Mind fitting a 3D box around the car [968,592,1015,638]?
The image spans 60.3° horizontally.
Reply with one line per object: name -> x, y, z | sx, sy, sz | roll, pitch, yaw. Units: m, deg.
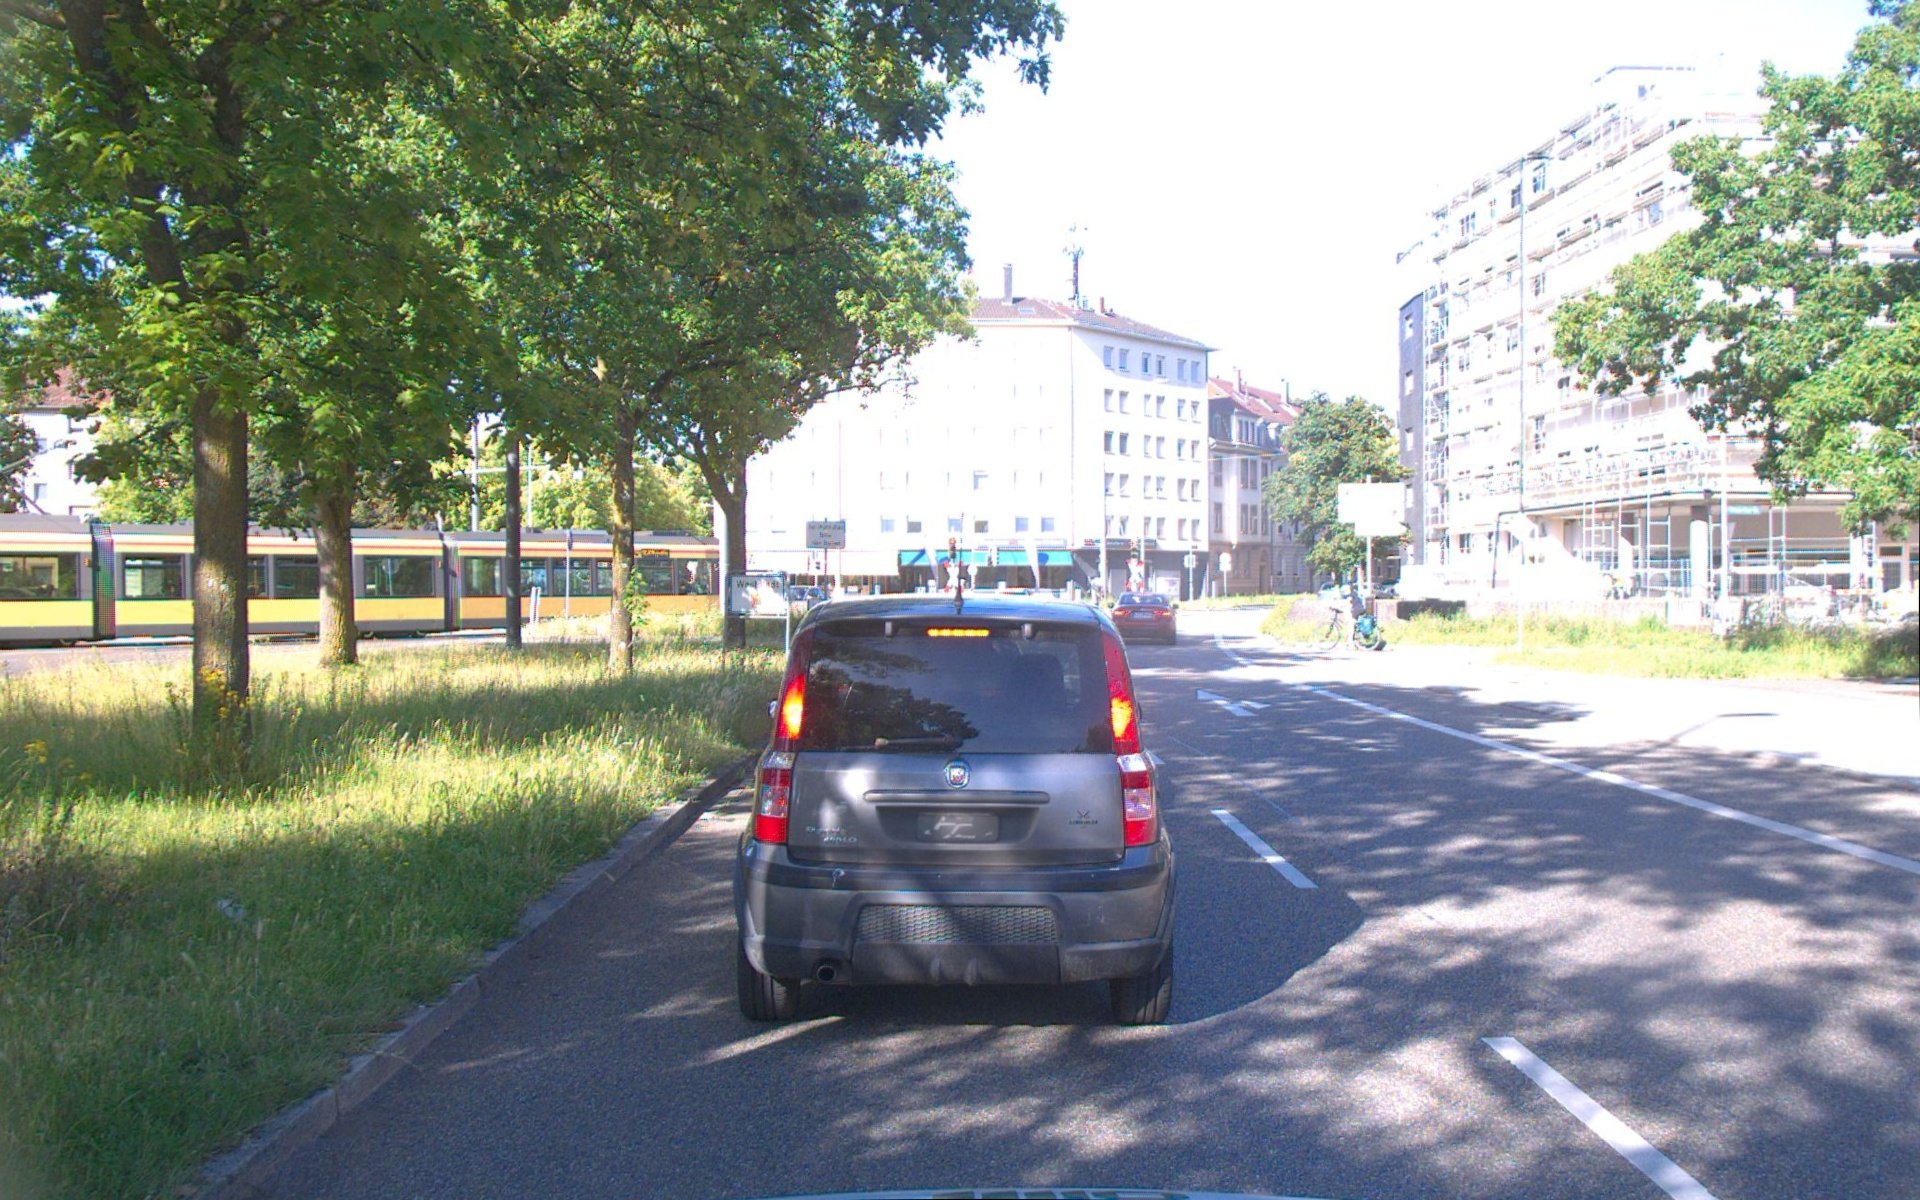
car -> 0.921, 0.439, 49.613 | 1.328, 1.304, 2.875 | 0, 1, -1

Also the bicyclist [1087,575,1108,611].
bicyclist -> 5.690, -0.276, 68.441 | 0.726, 1.463, 0.845 | 1, 0, -3

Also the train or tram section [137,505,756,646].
train or tram section -> -15.569, -0.802, 54.120 | 3.247, 3.836, 20.684 | 0, 1, 42

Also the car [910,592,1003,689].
car -> -0.079, 0.615, 27.279 | 1.434, 1.449, 3.381 | 0, 1, -1

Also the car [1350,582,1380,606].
car -> 23.119, -0.334, 94.379 | 1.495, 1.337, 3.289 | 0, 1, 17

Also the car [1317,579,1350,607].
car -> 20.509, -0.389, 90.712 | 1.646, 1.475, 3.574 | 0, 1, 15

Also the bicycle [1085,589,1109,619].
bicycle -> 5.667, 0.165, 68.380 | 0.694, 1.219, 2.519 | 1, 0, -2

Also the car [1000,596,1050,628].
car -> 2.287, 0.409, 57.702 | 1.118, 1.083, 2.723 | 0, 1, 17

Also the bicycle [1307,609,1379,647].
bicycle -> 9.978, 0.721, 43.090 | 1.755, 0.961, 0.559 | 0, 0, 29

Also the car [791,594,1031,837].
car -> -0.318, 0.687, 11.628 | 1.434, 1.425, 3.393 | 0, 1, -1

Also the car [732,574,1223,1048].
car -> 0.032, 0.665, 7.412 | 1.595, 1.534, 3.999 | 0, 1, -1

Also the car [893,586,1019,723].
car -> -0.071, 0.610, 20.673 | 1.434, 1.534, 3.504 | 0, 1, -1

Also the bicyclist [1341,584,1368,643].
bicyclist -> 10.233, 0.353, 42.883 | 0.572, 1.519, 0.549 | 0, 0, 28

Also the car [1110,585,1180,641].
car -> 5.122, 0.334, 46.287 | 1.847, 1.453, 4.390 | 0, 1, 5

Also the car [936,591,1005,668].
car -> 0.179, 0.562, 33.861 | 1.328, 1.475, 3.265 | 0, 0, -1

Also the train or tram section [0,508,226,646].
train or tram section -> -29.157, -0.568, 41.810 | 19.166, 3.574, 3.265 | -1, 1, -36
